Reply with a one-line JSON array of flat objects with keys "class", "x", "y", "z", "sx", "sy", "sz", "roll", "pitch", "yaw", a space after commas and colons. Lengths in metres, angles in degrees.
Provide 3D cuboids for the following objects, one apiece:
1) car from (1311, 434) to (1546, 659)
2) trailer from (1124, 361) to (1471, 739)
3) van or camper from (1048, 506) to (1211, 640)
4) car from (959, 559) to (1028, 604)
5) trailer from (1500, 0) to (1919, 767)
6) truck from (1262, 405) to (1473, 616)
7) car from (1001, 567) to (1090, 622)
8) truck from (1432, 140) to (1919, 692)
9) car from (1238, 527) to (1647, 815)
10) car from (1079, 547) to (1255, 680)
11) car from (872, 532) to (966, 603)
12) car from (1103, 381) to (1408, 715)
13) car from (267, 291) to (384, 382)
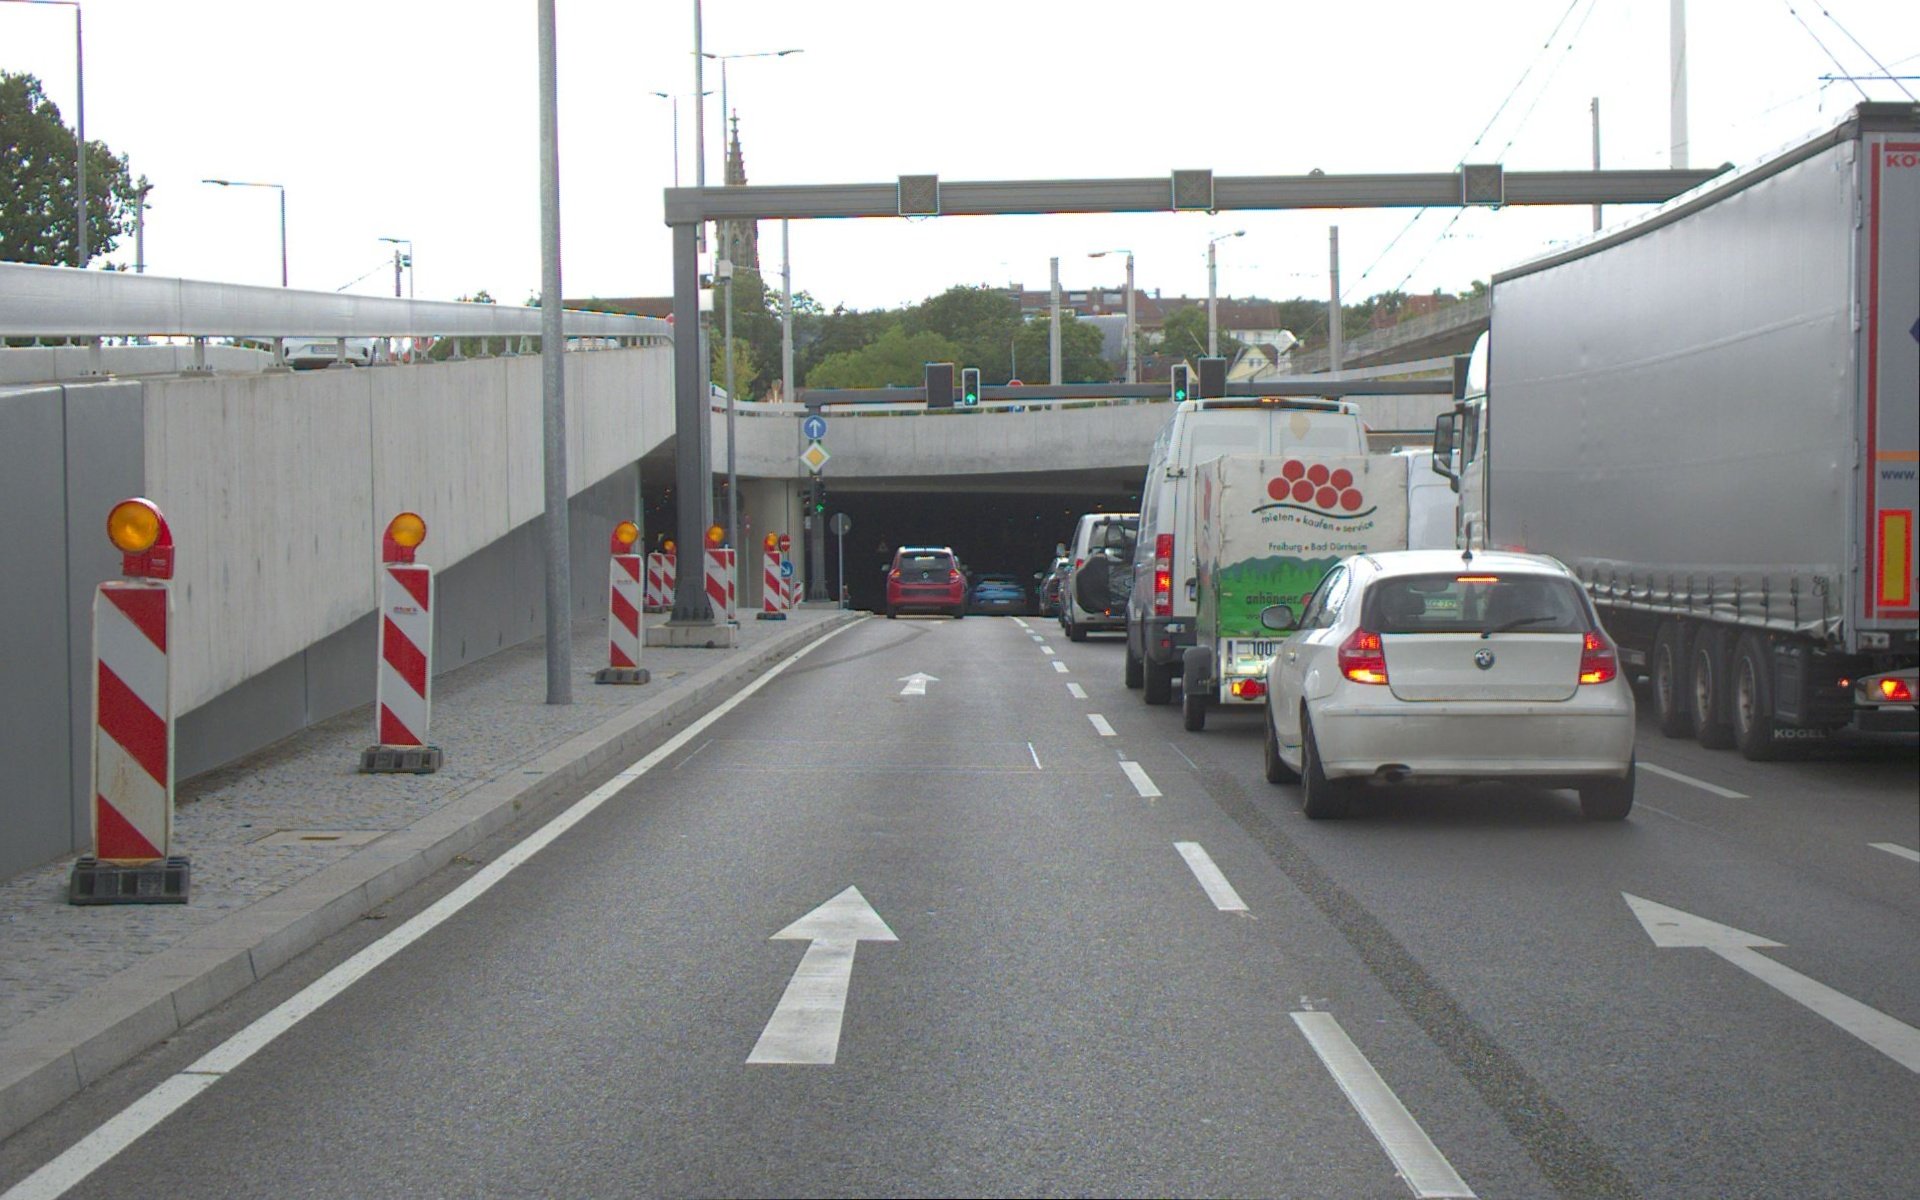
[{"class": "car", "x": 6.122, "y": -0.762, "z": 45.833, "sx": 2.075, "sy": 2.763, "sz": 7.327, "roll": 0, "pitch": 2, "yaw": 0}, {"class": "trailer", "x": 2.564, "y": -0.395, "z": 27.351, "sx": 2.103, "sy": 2.630, "sz": 4.810, "roll": 3, "pitch": 1, "yaw": -1}, {"class": "van or camper", "x": 2.439, "y": -0.411, "z": 50.710, "sx": 1.993, "sy": 1.839, "sz": 5.508, "roll": 1, "pitch": 1, "yaw": -1}, {"class": "car", "x": 1.090, "y": -0.617, "z": 113.827, "sx": 1.993, "sy": 1.382, "sz": 4.001, "roll": 0, "pitch": 2, "yaw": -4}, {"class": "trailer", "x": 6.946, "y": -1.467, "z": 25.913, "sx": 3.805, "sy": 4.615, "sz": 12.115, "roll": 1, "pitch": 1, "yaw": 0}, {"class": "truck", "x": 6.504, "y": -1.403, "z": 55.783, "sx": 2.649, "sy": 3.174, "sz": 7.426, "roll": -1, "pitch": 1, "yaw": 1}, {"class": "car", "x": 1.962, "y": -0.111, "z": 79.813, "sx": 1.663, "sy": 1.243, "sz": 3.567, "roll": 0, "pitch": 0, "yaw": -5}, {"class": "truck", "x": 6.970, "y": -1.648, "z": 32.899, "sx": 3.805, "sy": 4.615, "sz": 7.443, "roll": 1, "pitch": 1, "yaw": 0}, {"class": "car", "x": 2.609, "y": 0.319, "z": 19.523, "sx": 1.716, "sy": 1.393, "sz": 4.347, "roll": 2, "pitch": 1, "yaw": 1}, {"class": "car", "x": 2.610, "y": 0.137, "z": 44.062, "sx": 1.681, "sy": 1.539, "sz": 3.694, "roll": 1, "pitch": 2, "yaw": -5}, {"class": "car", "x": -0.906, "y": -0.688, "z": 74.120, "sx": 1.660, "sy": 1.483, "sz": 3.568, "roll": 0, "pitch": 0, "yaw": -7}, {"class": "car", "x": 2.544, "y": -0.467, "z": 31.153, "sx": 2.058, "sy": 2.619, "sz": 5.943, "roll": 3, "pitch": 1, "yaw": -1}, {"class": "car", "x": -12.160, "y": -5.036, "z": 66.080, "sx": 1.743, "sy": 1.427, "sz": 3.776, "roll": 3, "pitch": 1, "yaw": -4}]
